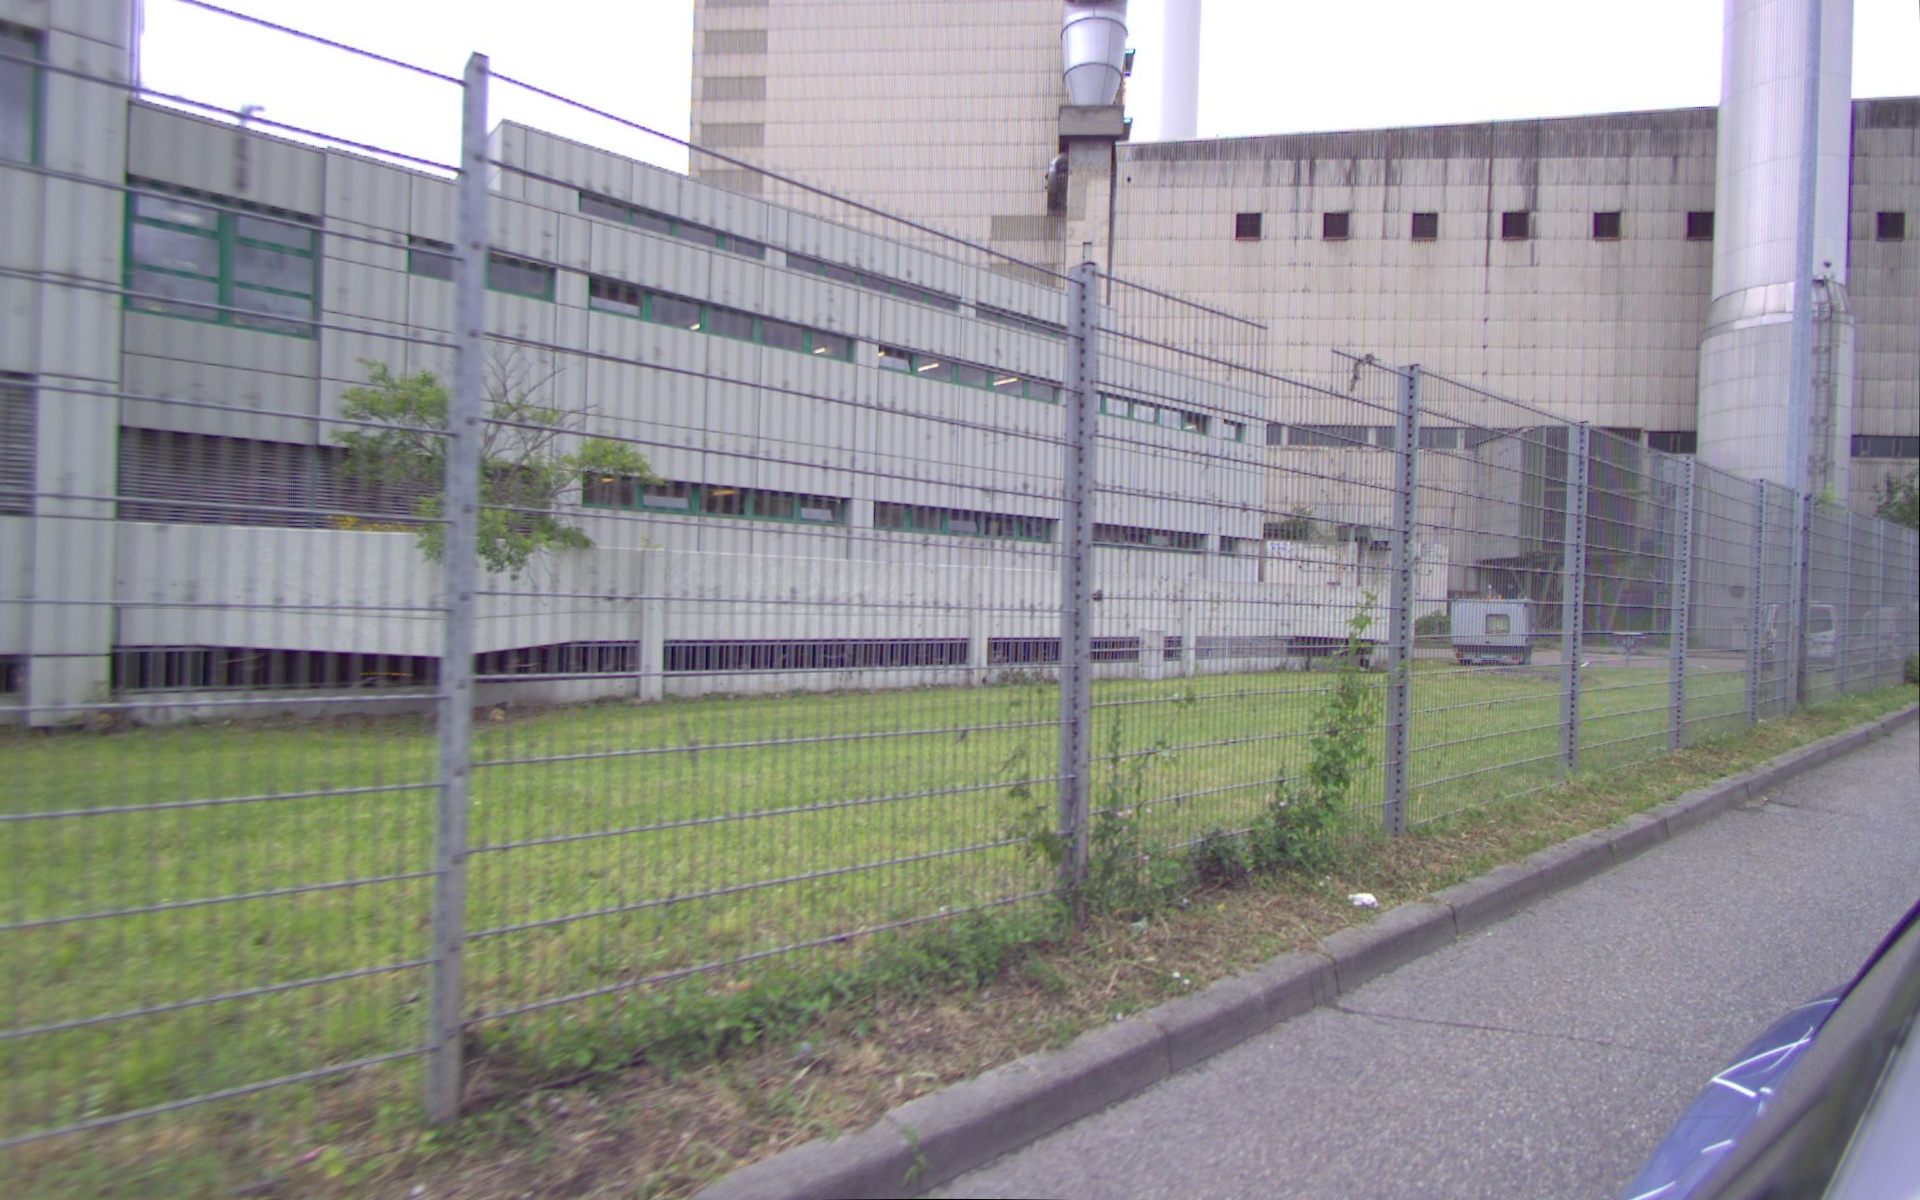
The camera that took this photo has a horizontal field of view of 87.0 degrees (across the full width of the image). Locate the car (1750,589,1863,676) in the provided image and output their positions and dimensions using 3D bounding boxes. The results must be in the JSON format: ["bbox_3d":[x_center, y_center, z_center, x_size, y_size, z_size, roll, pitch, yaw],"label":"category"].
[{"bbox_3d":[29.912,1.186,35.962,2.410,2.798,5.388,1,-2,33],"label":"car"}]

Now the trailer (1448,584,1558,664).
[{"bbox_3d":[19.583,0.819,36.334,2.648,2.576,6.349,1,-1,36],"label":"trailer"}]

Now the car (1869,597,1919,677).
[{"bbox_3d":[33.150,1.331,34.620,2.222,2.581,5.129,1,-2,32],"label":"car"}]
